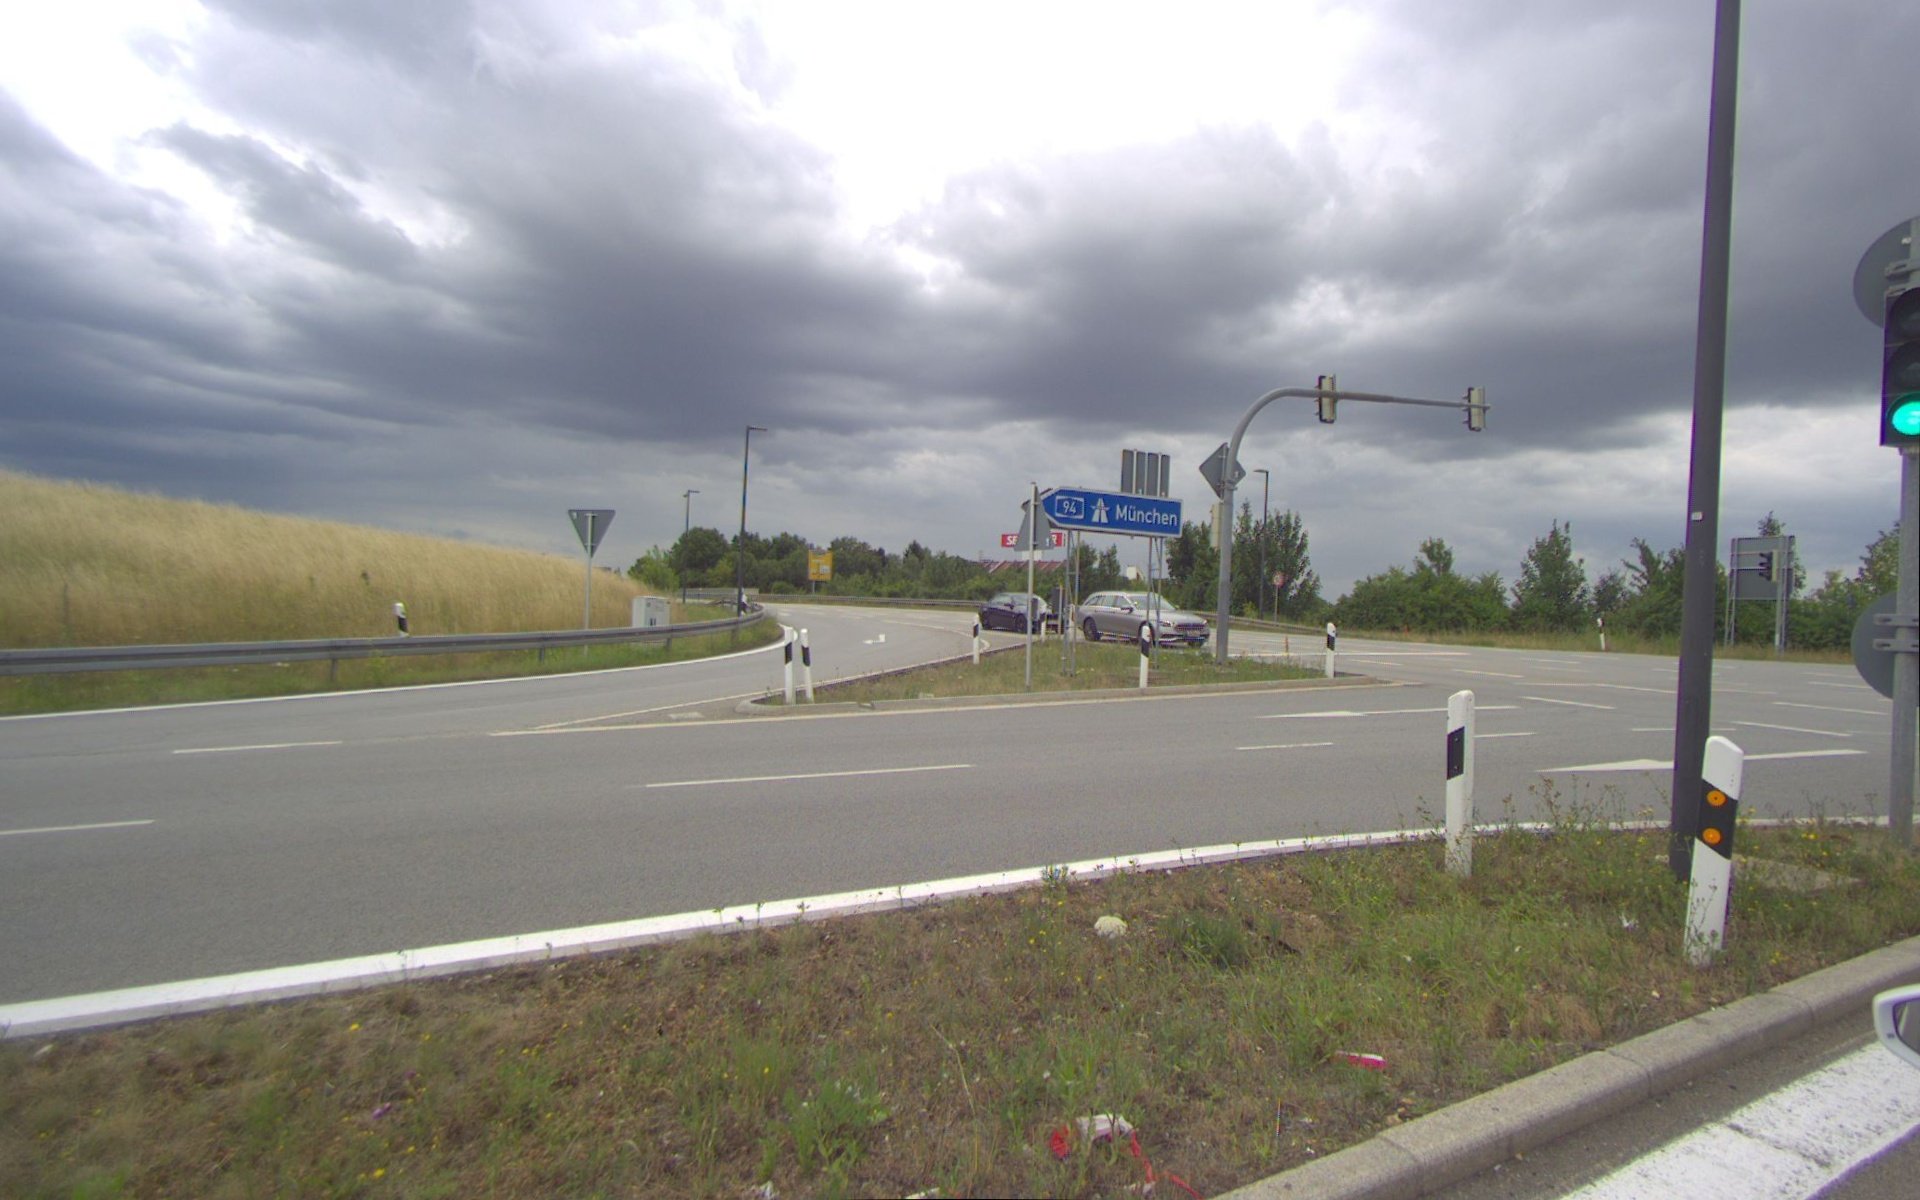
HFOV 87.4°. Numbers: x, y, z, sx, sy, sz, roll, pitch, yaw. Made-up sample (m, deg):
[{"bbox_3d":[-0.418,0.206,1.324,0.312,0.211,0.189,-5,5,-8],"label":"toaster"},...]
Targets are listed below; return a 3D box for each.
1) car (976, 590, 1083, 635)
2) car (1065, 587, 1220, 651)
[{"bbox_3d":[2.370,0.408,35.678,1.690,1.429,4.644,2,0,-26],"label":"car"},{"bbox_3d":[5.160,0.466,29.134,1.895,1.632,4.916,0,1,-26],"label":"car"}]
